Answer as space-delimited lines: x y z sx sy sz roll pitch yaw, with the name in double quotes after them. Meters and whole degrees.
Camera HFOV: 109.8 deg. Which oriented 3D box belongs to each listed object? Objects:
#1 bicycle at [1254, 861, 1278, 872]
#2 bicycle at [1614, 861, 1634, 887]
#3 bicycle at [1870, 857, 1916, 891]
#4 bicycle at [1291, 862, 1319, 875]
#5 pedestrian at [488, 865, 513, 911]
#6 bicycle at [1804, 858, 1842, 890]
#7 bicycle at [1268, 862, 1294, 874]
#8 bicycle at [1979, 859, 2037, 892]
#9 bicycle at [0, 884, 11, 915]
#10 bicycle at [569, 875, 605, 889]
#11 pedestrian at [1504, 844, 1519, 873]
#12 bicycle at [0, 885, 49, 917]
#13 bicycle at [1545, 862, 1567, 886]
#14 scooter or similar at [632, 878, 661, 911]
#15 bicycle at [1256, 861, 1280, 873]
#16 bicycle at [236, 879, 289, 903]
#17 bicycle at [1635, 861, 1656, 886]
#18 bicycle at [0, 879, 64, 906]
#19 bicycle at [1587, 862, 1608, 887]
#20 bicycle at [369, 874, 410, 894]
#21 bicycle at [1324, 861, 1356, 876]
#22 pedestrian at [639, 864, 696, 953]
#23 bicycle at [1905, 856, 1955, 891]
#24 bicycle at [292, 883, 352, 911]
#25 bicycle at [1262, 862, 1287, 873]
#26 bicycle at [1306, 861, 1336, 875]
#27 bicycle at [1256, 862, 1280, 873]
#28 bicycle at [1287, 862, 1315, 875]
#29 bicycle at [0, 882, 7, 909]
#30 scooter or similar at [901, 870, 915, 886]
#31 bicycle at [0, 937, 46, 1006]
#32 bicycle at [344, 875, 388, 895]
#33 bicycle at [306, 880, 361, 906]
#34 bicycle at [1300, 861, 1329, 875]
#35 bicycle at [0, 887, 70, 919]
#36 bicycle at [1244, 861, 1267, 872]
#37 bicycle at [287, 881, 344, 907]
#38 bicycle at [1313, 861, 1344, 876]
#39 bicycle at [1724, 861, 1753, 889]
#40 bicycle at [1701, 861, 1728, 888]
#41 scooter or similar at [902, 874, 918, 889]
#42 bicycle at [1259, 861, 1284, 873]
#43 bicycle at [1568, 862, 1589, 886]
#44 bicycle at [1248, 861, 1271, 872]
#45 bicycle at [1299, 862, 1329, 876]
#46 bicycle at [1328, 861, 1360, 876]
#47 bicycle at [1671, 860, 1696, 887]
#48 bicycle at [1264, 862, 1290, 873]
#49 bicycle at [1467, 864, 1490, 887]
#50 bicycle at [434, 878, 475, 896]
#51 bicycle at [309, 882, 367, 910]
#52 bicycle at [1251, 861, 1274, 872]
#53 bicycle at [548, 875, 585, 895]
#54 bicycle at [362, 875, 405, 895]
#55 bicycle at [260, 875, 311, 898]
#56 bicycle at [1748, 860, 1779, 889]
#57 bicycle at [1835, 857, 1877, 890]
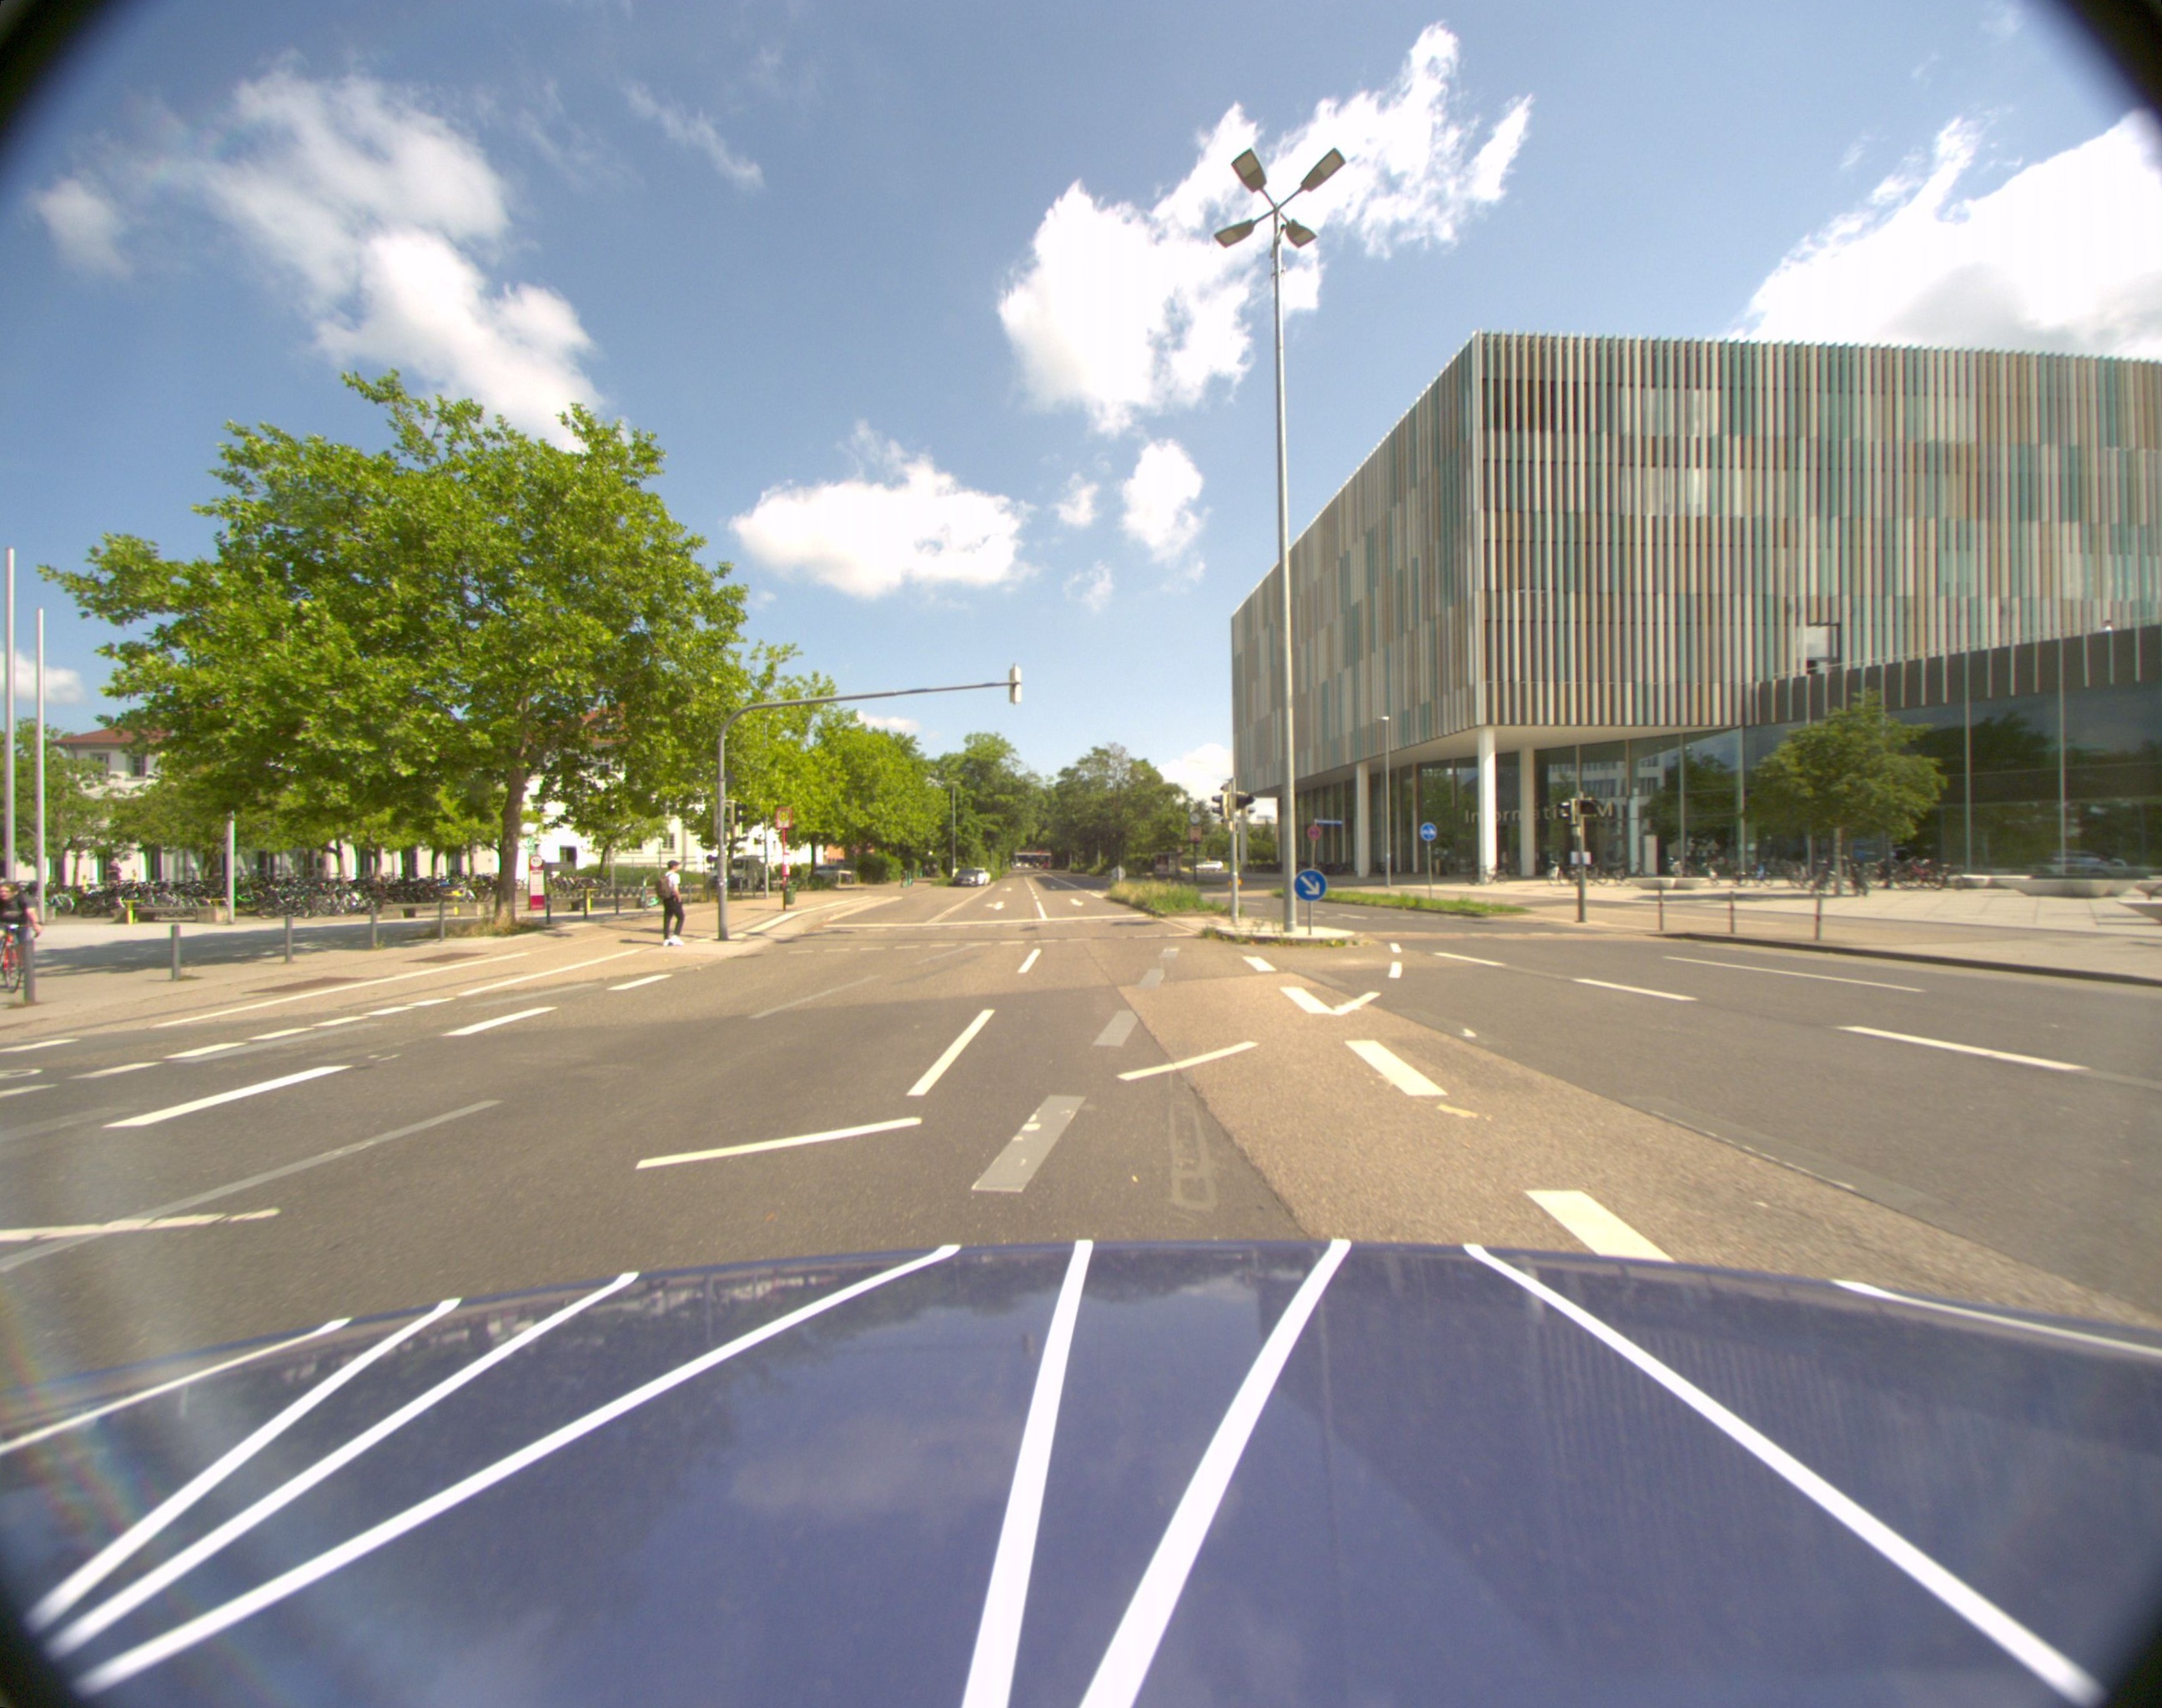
18.787 1.286 77.268 2.218 1.090 0.722 -1 0 -9 "bicycle"
24.668 0.898 34.523 0.720 1.090 2.223 -1 0 36 "bicycle"
30.037 0.711 28.129 0.745 1.183 2.323 -1 0 36 "bicycle"
19.052 1.231 64.709 2.218 1.090 0.722 -1 0 -9 "bicycle"
-20.918 1.216 27.386 0.640 1.640 0.740 -1 0 -40 "pedestrian"
28.864 0.756 29.580 0.745 1.183 2.323 -1 0 36 "bicycle"
18.723 1.275 71.031 2.218 1.090 0.722 -1 0 -9 "bicycle"
31.965 0.717 26.228 0.720 1.090 2.223 -1 0 36 "bicycle"
-39.904 1.656 27.346 1.673 1.090 0.626 -1 0 -9 "bicycle"
-29.635 1.663 45.624 1.673 0.785 0.626 -1 0 -8 "bicycle"
27.835 0.307 49.087 0.764 1.859 0.650 -1 0 37 "pedestrian"
-37.959 1.683 26.915 1.673 1.090 0.626 -1 0 -9 "bicycle"
23.041 0.969 36.828 0.720 1.090 2.223 -1 0 36 "bicycle"
-15.263 1.412 26.701 0.348 1.122 1.167 -1 0 -2 "scooter or similar"
18.394 1.267 74.703 2.218 1.090 0.722 -1 0 -9 "bicycle"
-39.074 1.740 36.289 1.673 1.090 0.626 -1 0 -8 "bicycle"
25.386 0.855 34.190 0.720 1.090 2.223 -1 0 36 "bicycle"
-44.813 1.625 32.434 1.673 1.090 0.626 -1 0 -9 "bicycle"
24.275 0.936 35.677 0.720 1.090 2.223 -1 0 36 "bicycle"
-39.872 1.750 43.846 1.673 1.090 0.626 -1 0 -8 "bicycle"
20.169 1.107 59.223 2.218 1.090 0.755 -1 0 -9 "bicycle"
-8.842 1.146 16.288 0.701 1.815 0.942 2 1 -3 "pedestrian"
30.802 0.682 27.592 0.745 1.183 2.323 -1 0 36 "bicycle"
-31.049 1.757 31.111 1.673 1.090 0.626 -1 0 -8 "bicycle"
18.610 1.290 73.151 2.218 1.090 0.722 -1 0 -9 "bicycle"
19.463 1.164 61.632 2.218 1.090 0.735 -1 0 -9 "bicycle"
18.748 1.322 76.079 2.218 1.090 0.722 -1 0 -9 "bicycle"
18.958 1.252 65.589 2.218 1.090 0.722 -1 0 -9 "bicycle"
-44.488 1.681 30.474 1.673 1.090 0.626 -1 0 -8 "bicycle"
-11.901 1.626 52.172 0.518 1.071 1.441 -1 0 5 "scooter or similar"
-15.316 1.667 10.813 1.510 0.828 0.621 0 1 39 "bicycle"
-39.390 1.701 41.858 1.673 1.090 0.626 -1 0 -8 "bicycle"
-33.389 1.750 33.940 1.673 1.090 0.626 -1 0 -8 "bicycle"
19.549 1.171 63.685 2.218 1.090 0.722 -1 0 -9 "bicycle"
-38.088 1.784 27.580 1.673 1.090 0.626 -1 0 -9 "bicycle"
18.498 1.357 80.554 2.218 1.090 0.722 -1 0 -9 "bicycle"
-33.320 1.726 33.079 1.673 1.090 0.626 -1 0 -8 "bicycle"
19.552 1.129 60.117 2.218 1.090 0.722 -1 0 -9 "bicycle"
27.379 0.851 31.650 0.720 1.090 2.223 -1 0 36 "bicycle"
26.818 0.853 32.203 0.720 1.090 2.223 -1 0 36 "bicycle"
-12.127 1.937 53.948 0.518 1.065 1.371 -1 0 12 "scooter or similar"
18.510 1.284 73.927 2.218 1.083 0.722 -1 0 -9 "bicycle"
23.731 0.948 36.219 0.720 1.090 2.223 -1 0 36 "bicycle"
18.656 1.313 79.564 2.218 1.090 0.722 -1 0 -9 "bicycle"
19.213 1.223 62.634 2.218 1.090 0.722 -1 0 -9 "bicycle"
20.088 1.103 58.062 2.218 1.090 0.722 -1 0 -9 "bicycle"
26.059 0.842 32.885 0.720 1.090 2.223 -1 0 36 "bicycle"
18.630 1.281 72.198 2.218 1.090 0.722 -1 0 -9 "bicycle"
20.275 1.089 38.778 0.547 1.090 1.635 -1 0 8 "bicycle"
-33.501 1.756 40.654 1.673 0.916 0.472 -1 0 -8 "bicycle"
-31.240 1.752 31.964 1.673 1.090 0.626 -1 0 -8 "bicycle"
18.770 1.292 78.678 2.218 1.090 0.722 -1 0 -9 "bicycle"
-29.494 1.768 43.568 1.673 1.090 0.626 -1 0 -8 "bicycle"
-39.376 1.746 42.902 1.673 1.090 0.626 -1 0 -8 "bicycle"
-39.234 1.590 37.479 1.673 1.090 0.626 -1 0 -8 "bicycle"
28.001 0.827 31.209 0.720 1.090 2.223 -1 0 36 "bicycle"
29.517 0.731 28.961 0.745 1.183 2.323 -1 0 36 "bicycle"
